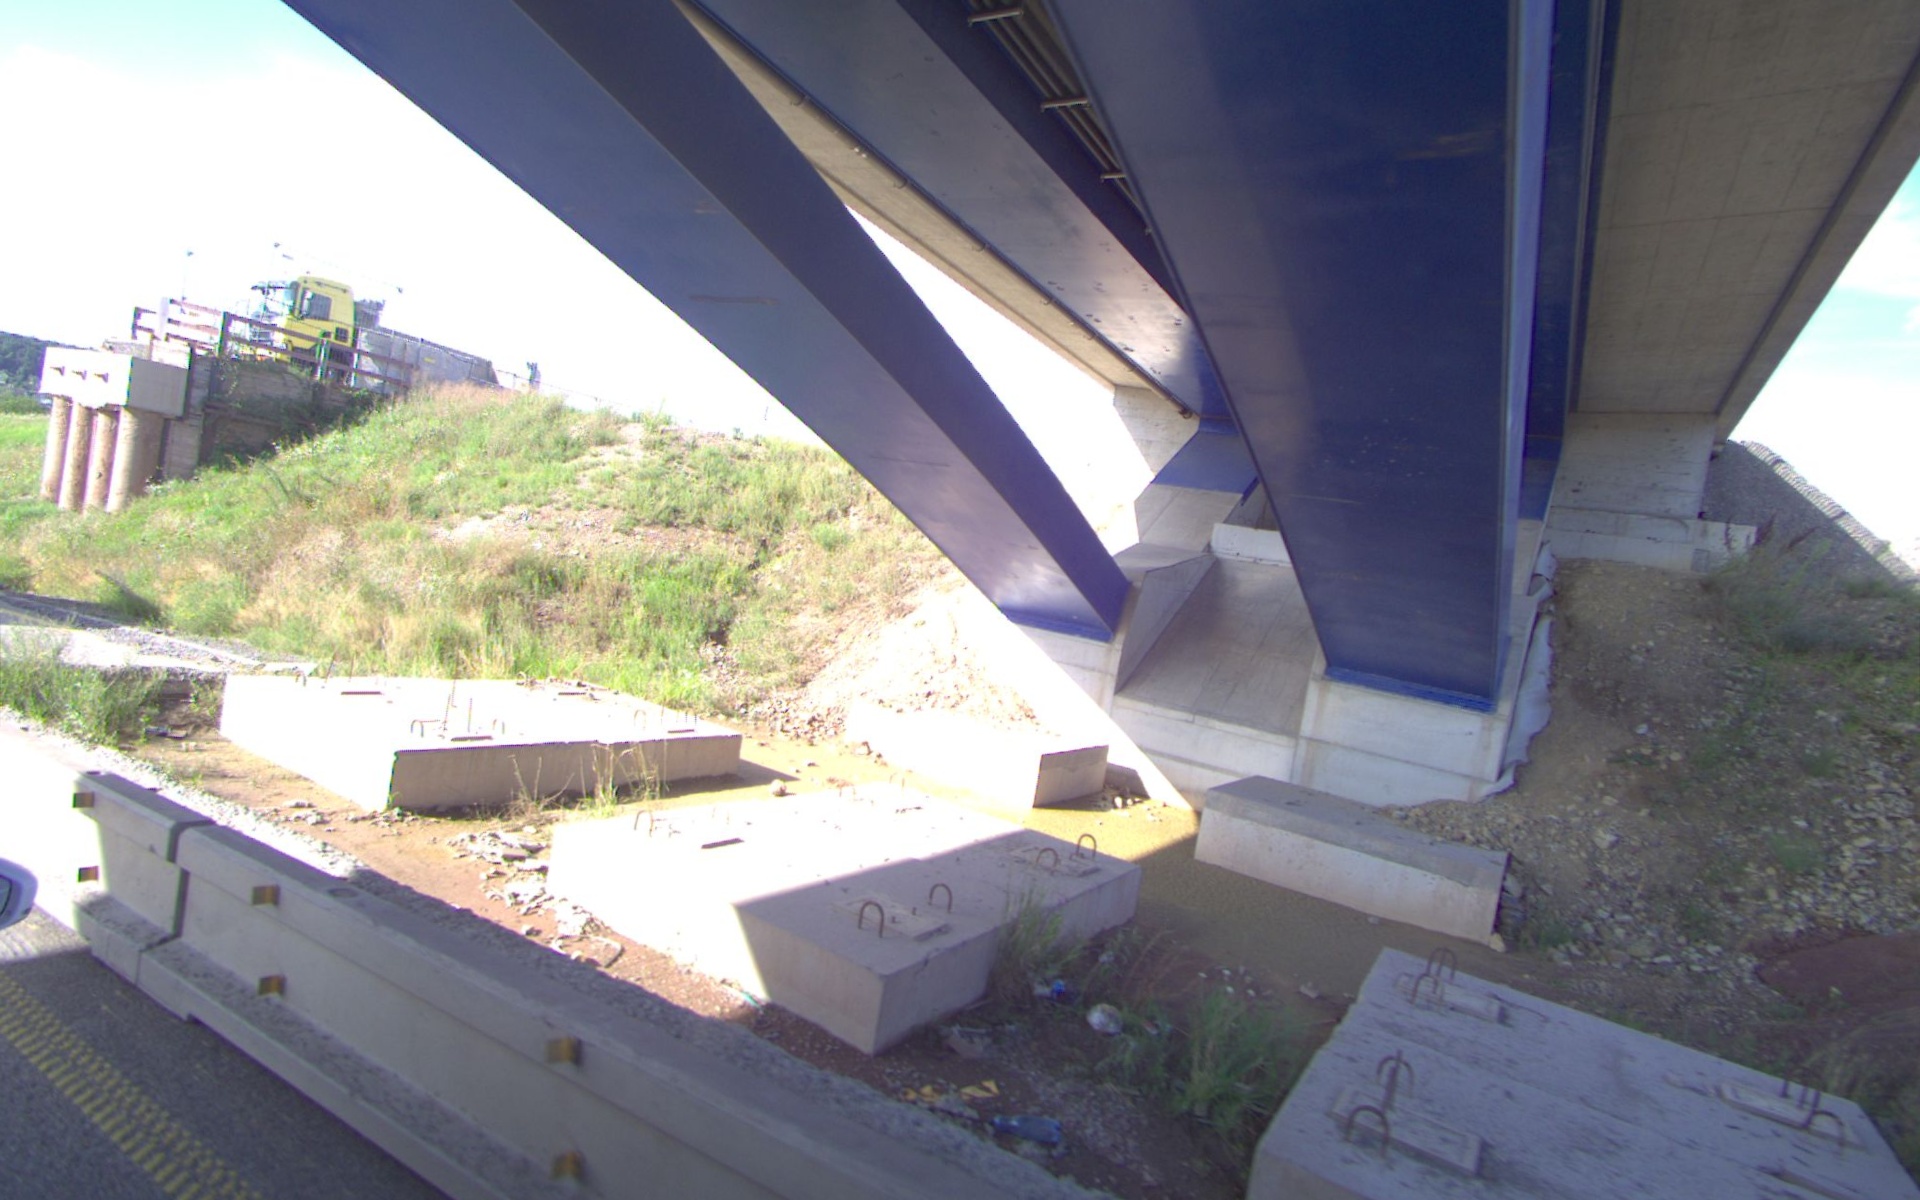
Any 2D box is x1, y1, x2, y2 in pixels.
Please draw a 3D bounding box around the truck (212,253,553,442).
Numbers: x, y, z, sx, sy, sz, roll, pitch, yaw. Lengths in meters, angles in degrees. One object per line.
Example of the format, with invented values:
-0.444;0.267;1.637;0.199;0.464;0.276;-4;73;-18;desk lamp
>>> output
-18.450;-7.888;33.091;2.910;3.266;9.280;7;-1;31;truck
